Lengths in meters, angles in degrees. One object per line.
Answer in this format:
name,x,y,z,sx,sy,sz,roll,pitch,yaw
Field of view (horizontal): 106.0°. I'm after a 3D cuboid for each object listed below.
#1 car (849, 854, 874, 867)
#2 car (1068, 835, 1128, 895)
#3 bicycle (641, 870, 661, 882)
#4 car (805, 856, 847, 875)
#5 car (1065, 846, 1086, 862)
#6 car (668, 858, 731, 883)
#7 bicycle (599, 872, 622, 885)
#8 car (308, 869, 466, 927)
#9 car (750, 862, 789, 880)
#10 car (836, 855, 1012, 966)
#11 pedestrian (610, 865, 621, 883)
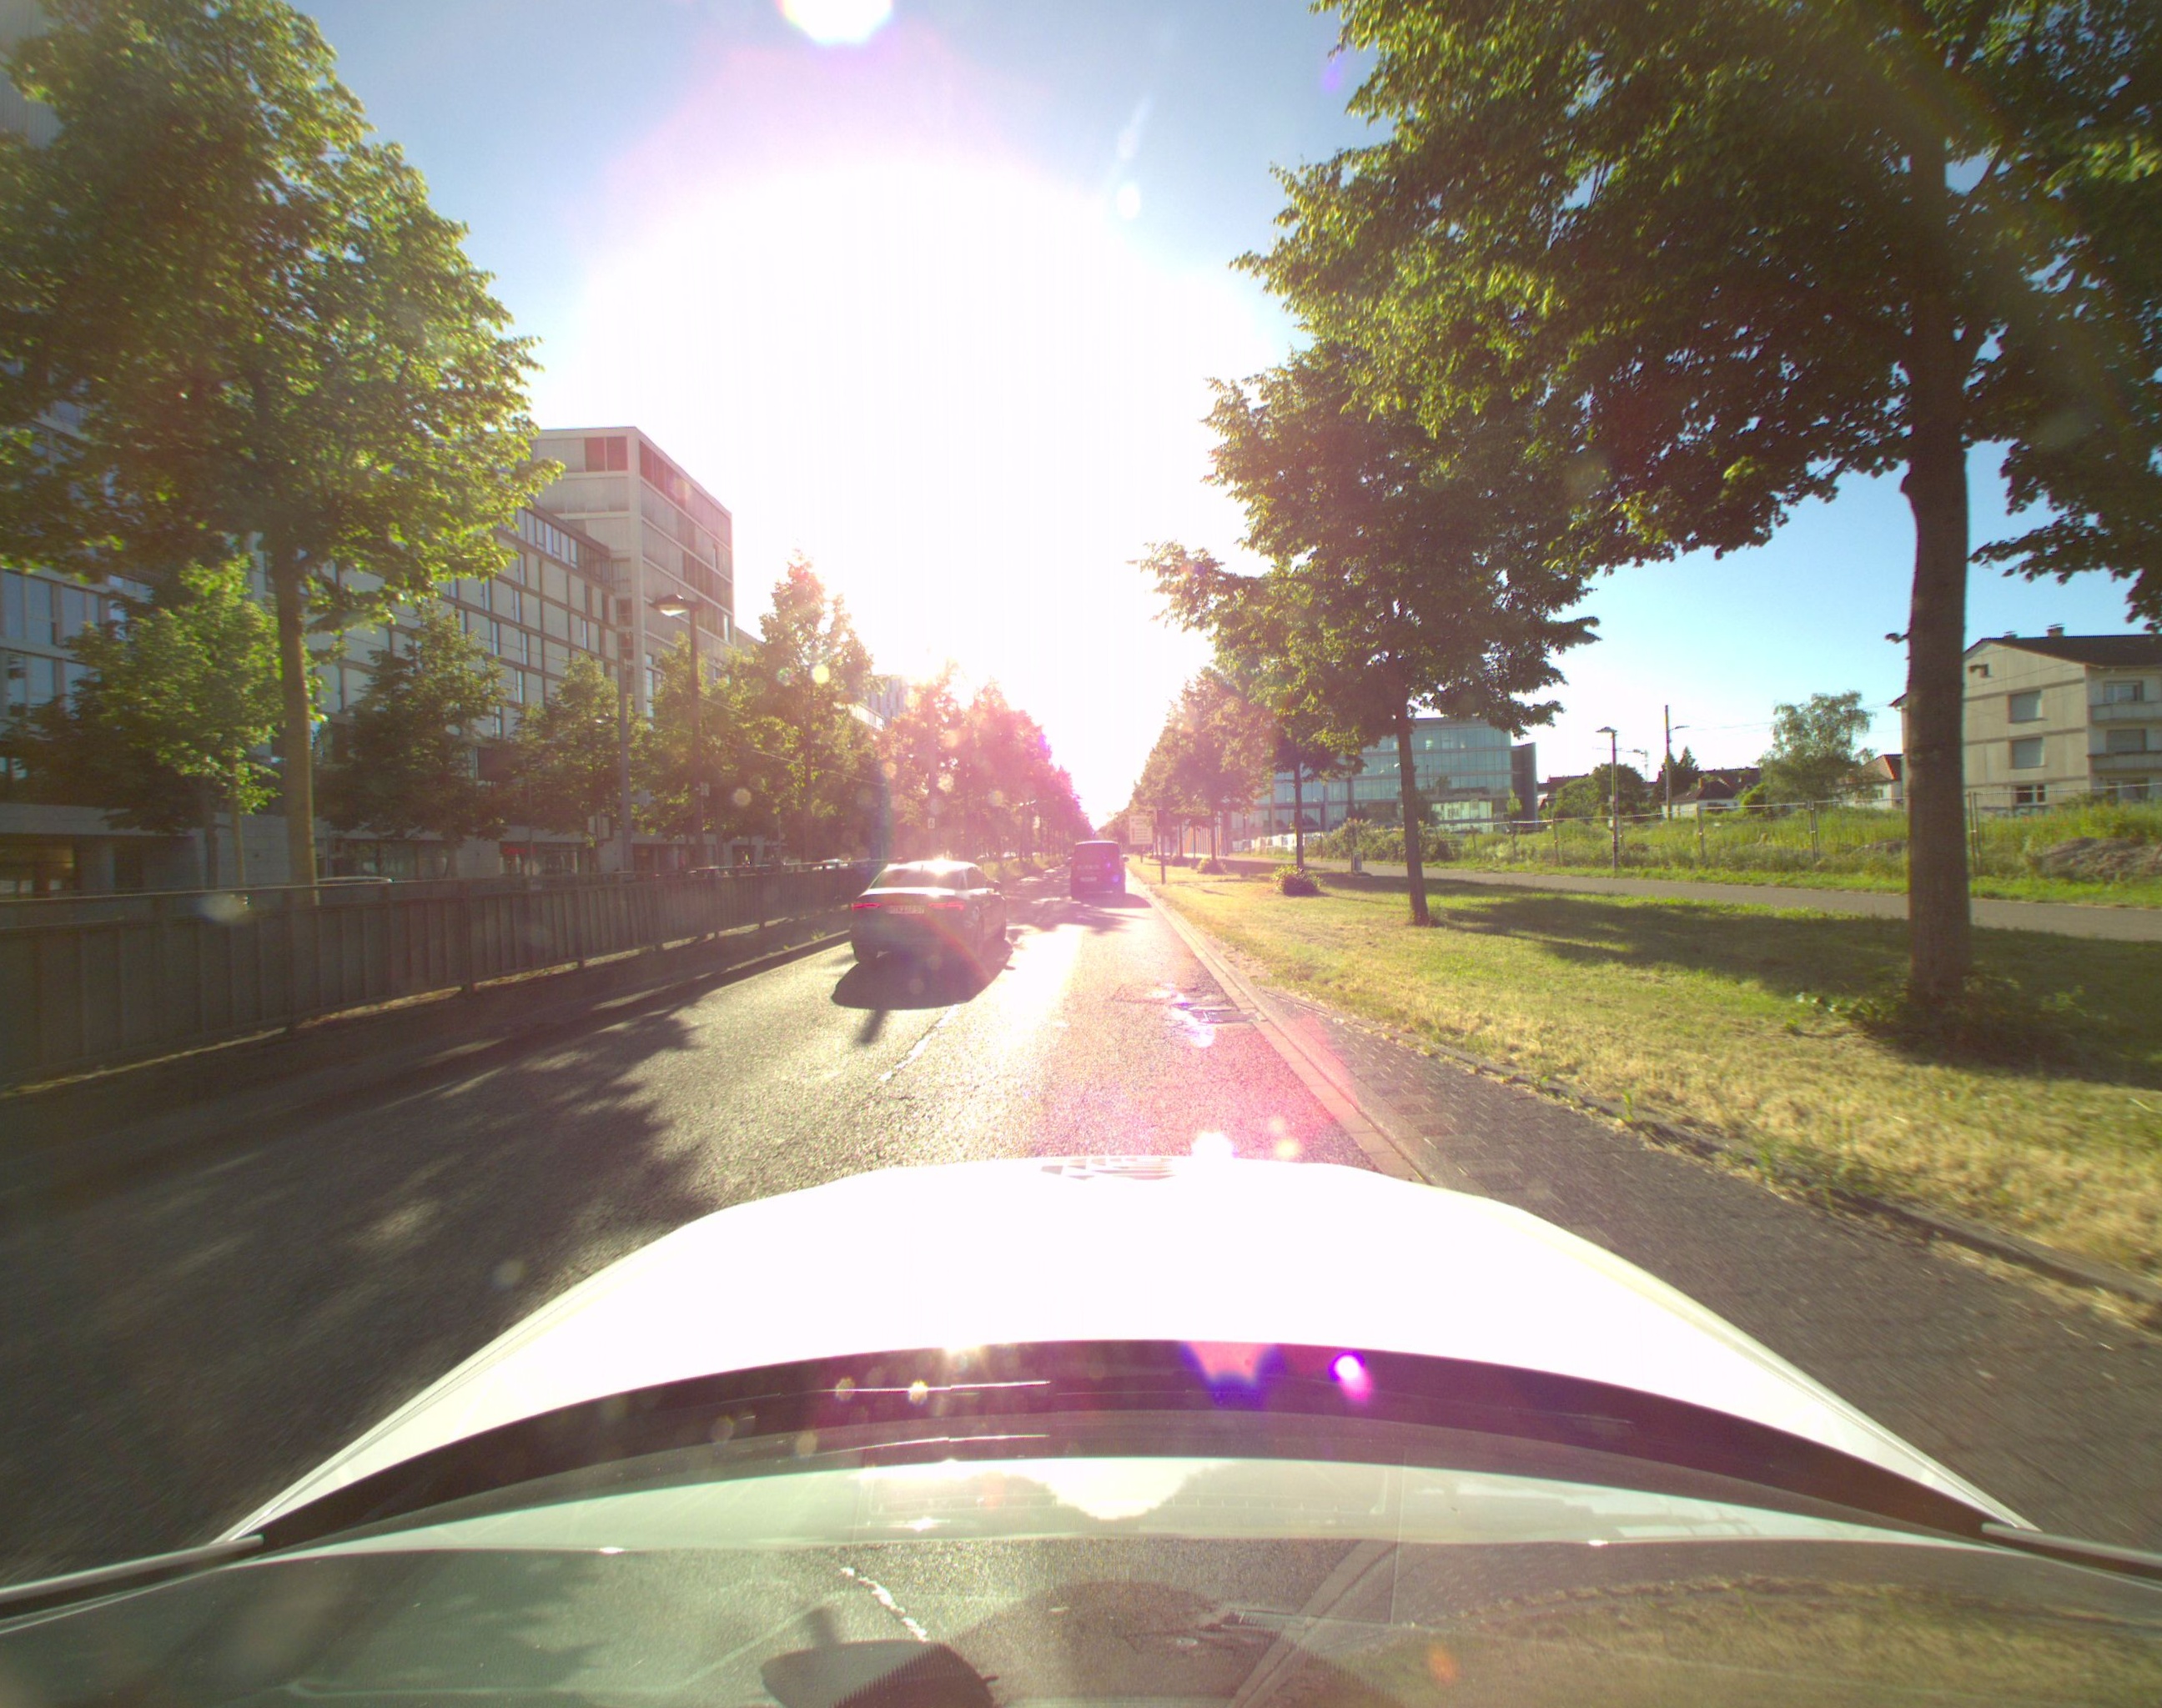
car,-27.855,0.807,103.448,1.708,1.420,4.547,-2,0,2
car,0.535,0.327,27.259,1.792,1.777,4.000,-2,0,0
bicycle,-36.311,1.827,68.824,0.539,0.972,1.983,-2,-1,1
car,-20.556,0.903,65.792,1.811,1.403,4.511,-2,0,1
car,-0.501,-0.036,77.834,1.936,1.441,3.999,-2,0,0
car,-23.690,1.012,50.712,1.753,1.403,4.334,-2,-1,1
bicycle,-36.344,1.885,62.939,0.539,0.881,2.015,-2,0,1
car,-21.609,1.319,25.561,1.673,1.520,3.702,-2,0,1
car,-28.999,1.556,75.895,1.662,1.419,4.806,-2,0,1
car,-2.184,0.731,12.492,1.714,1.366,4.149,-1,1,3
pedestrian,-35.875,1.540,62.772,0.406,1.413,0.690,-2,-1,2
